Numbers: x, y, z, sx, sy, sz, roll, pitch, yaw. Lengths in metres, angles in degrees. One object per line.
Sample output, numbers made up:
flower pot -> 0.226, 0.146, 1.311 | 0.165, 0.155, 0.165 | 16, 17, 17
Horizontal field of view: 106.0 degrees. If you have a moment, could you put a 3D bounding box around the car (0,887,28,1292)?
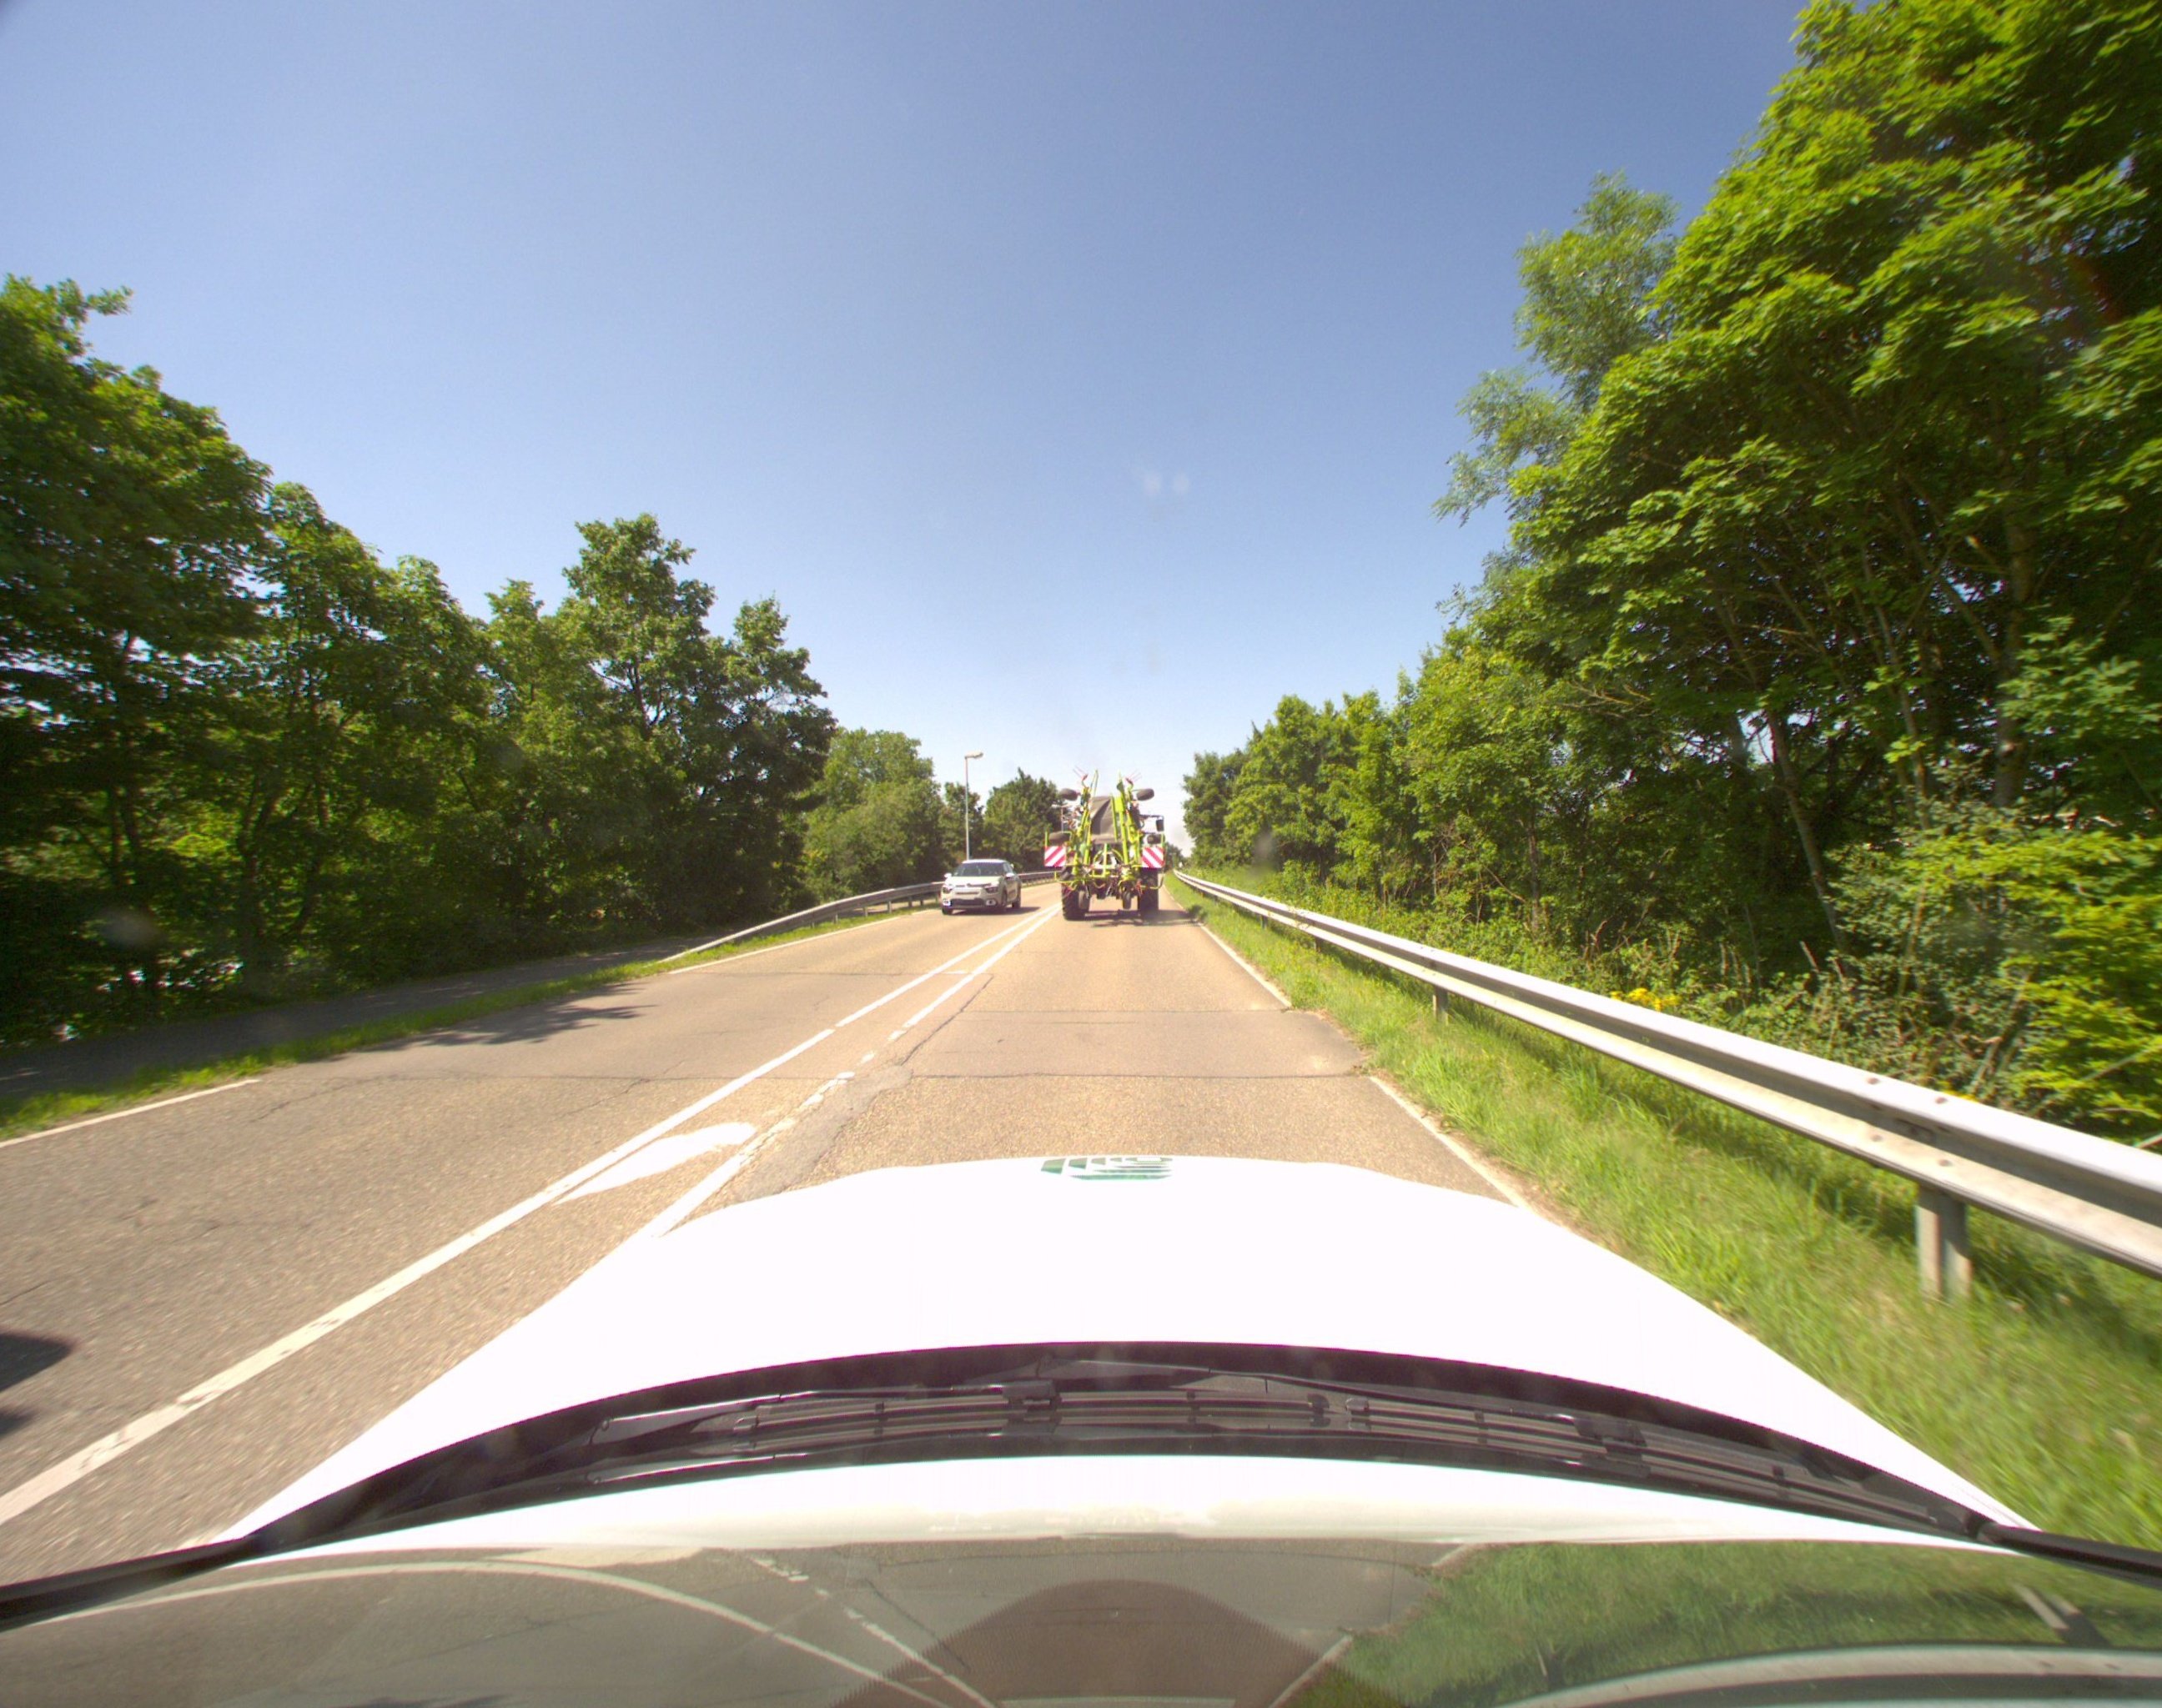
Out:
car -> -4.639, 0.816, 1.206 | 1.620, 1.404, 3.434 | -1, -1, 2

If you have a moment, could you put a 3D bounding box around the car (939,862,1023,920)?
car -> -2.743, 0.978, 23.117 | 1.732, 1.456, 3.891 | 0, 0, 2

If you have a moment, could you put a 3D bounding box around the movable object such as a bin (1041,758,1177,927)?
movable object such as a bin -> 0.654, -0.225, 19.620 | 2.745, 3.444, 5.672 | -1, 0, 2
